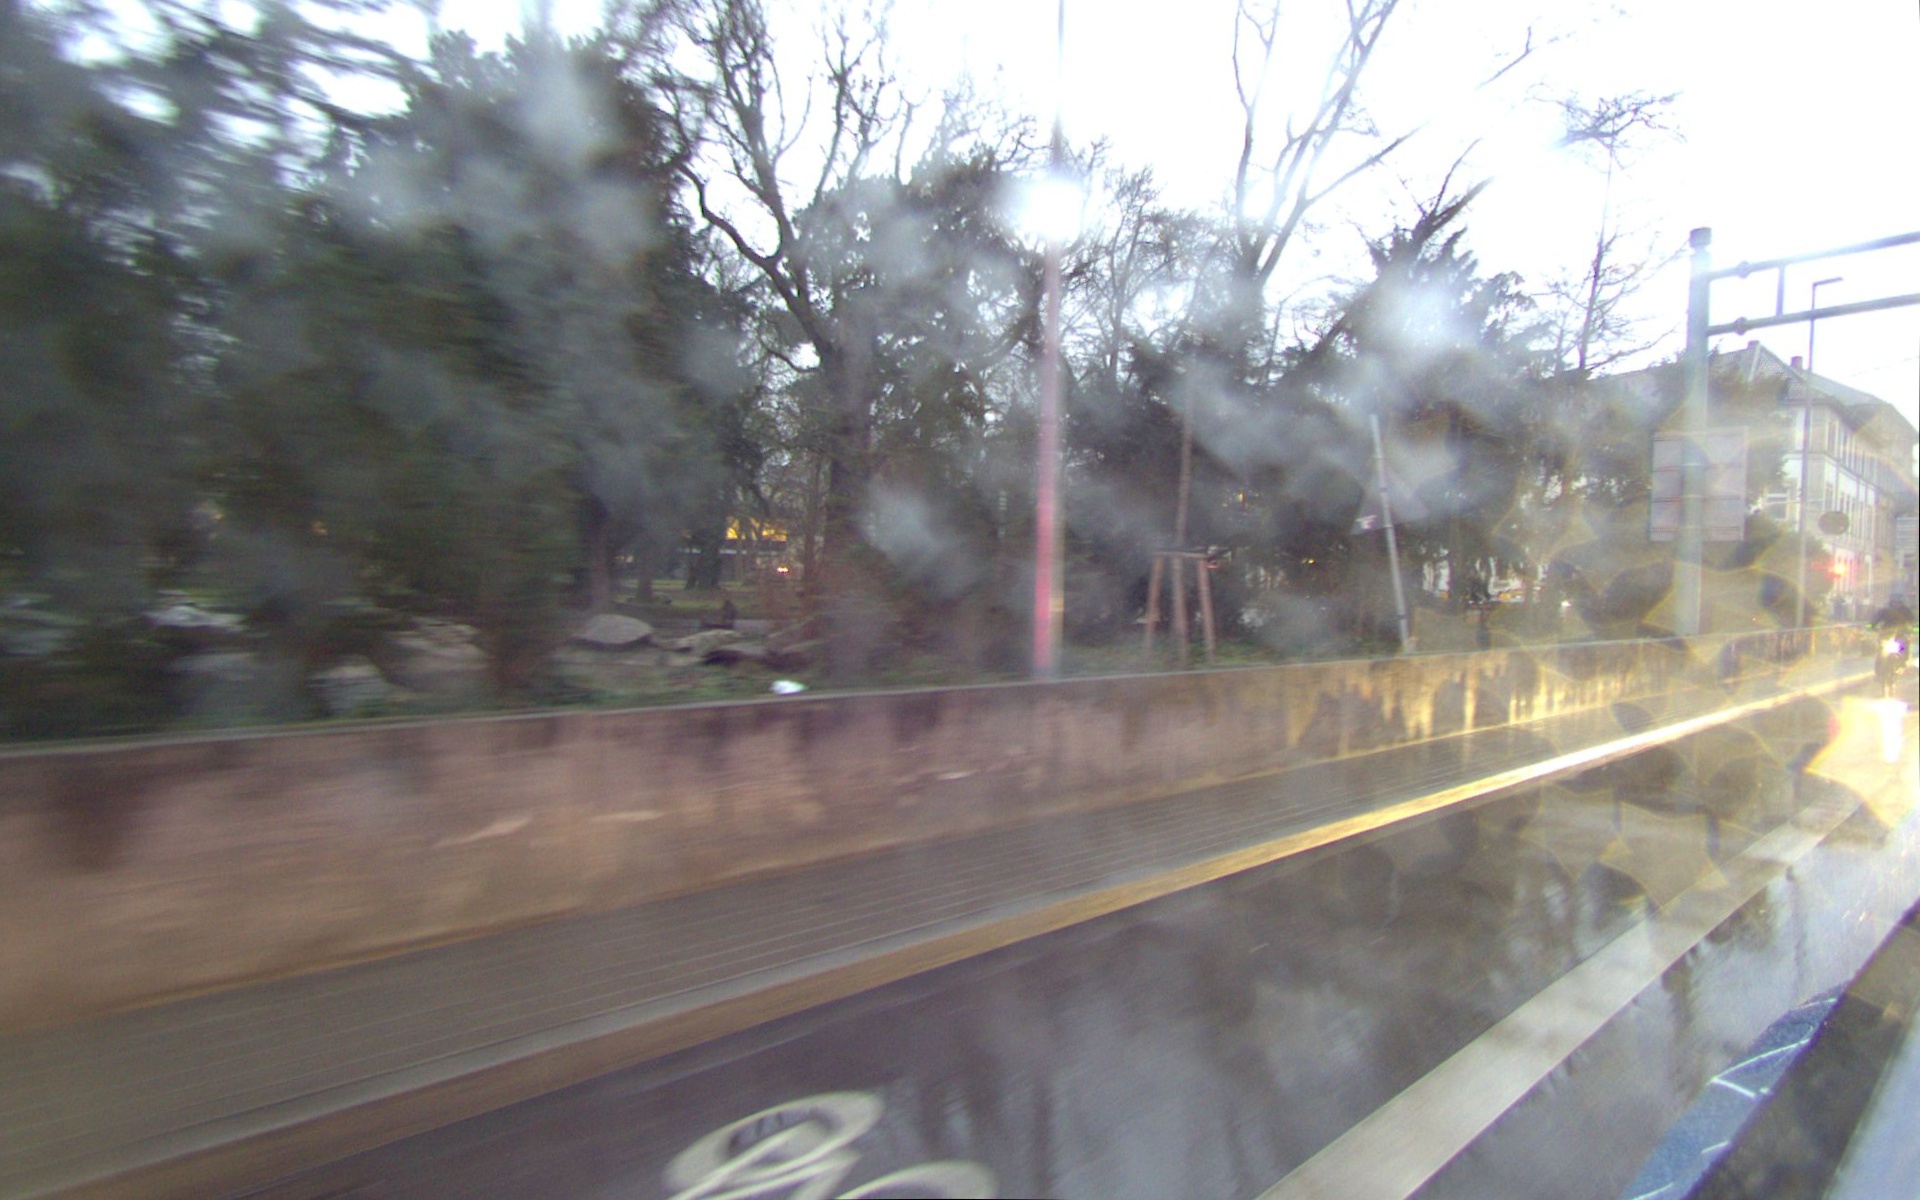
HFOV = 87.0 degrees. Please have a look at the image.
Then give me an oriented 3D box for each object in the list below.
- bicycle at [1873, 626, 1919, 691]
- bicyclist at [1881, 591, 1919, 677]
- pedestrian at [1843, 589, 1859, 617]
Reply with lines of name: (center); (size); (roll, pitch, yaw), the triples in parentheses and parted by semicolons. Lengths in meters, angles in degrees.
bicycle: (16.041, 0.968, 17.074); (2.010, 0.978, 0.647); (0, 1, -40)
bicyclist: (16.030, 0.559, 17.032); (0.874, 1.406, 0.647); (0, 1, -40)
pedestrian: (49.777, 0.144, 56.532); (0.577, 1.529, 0.520); (1, 1, -41)
